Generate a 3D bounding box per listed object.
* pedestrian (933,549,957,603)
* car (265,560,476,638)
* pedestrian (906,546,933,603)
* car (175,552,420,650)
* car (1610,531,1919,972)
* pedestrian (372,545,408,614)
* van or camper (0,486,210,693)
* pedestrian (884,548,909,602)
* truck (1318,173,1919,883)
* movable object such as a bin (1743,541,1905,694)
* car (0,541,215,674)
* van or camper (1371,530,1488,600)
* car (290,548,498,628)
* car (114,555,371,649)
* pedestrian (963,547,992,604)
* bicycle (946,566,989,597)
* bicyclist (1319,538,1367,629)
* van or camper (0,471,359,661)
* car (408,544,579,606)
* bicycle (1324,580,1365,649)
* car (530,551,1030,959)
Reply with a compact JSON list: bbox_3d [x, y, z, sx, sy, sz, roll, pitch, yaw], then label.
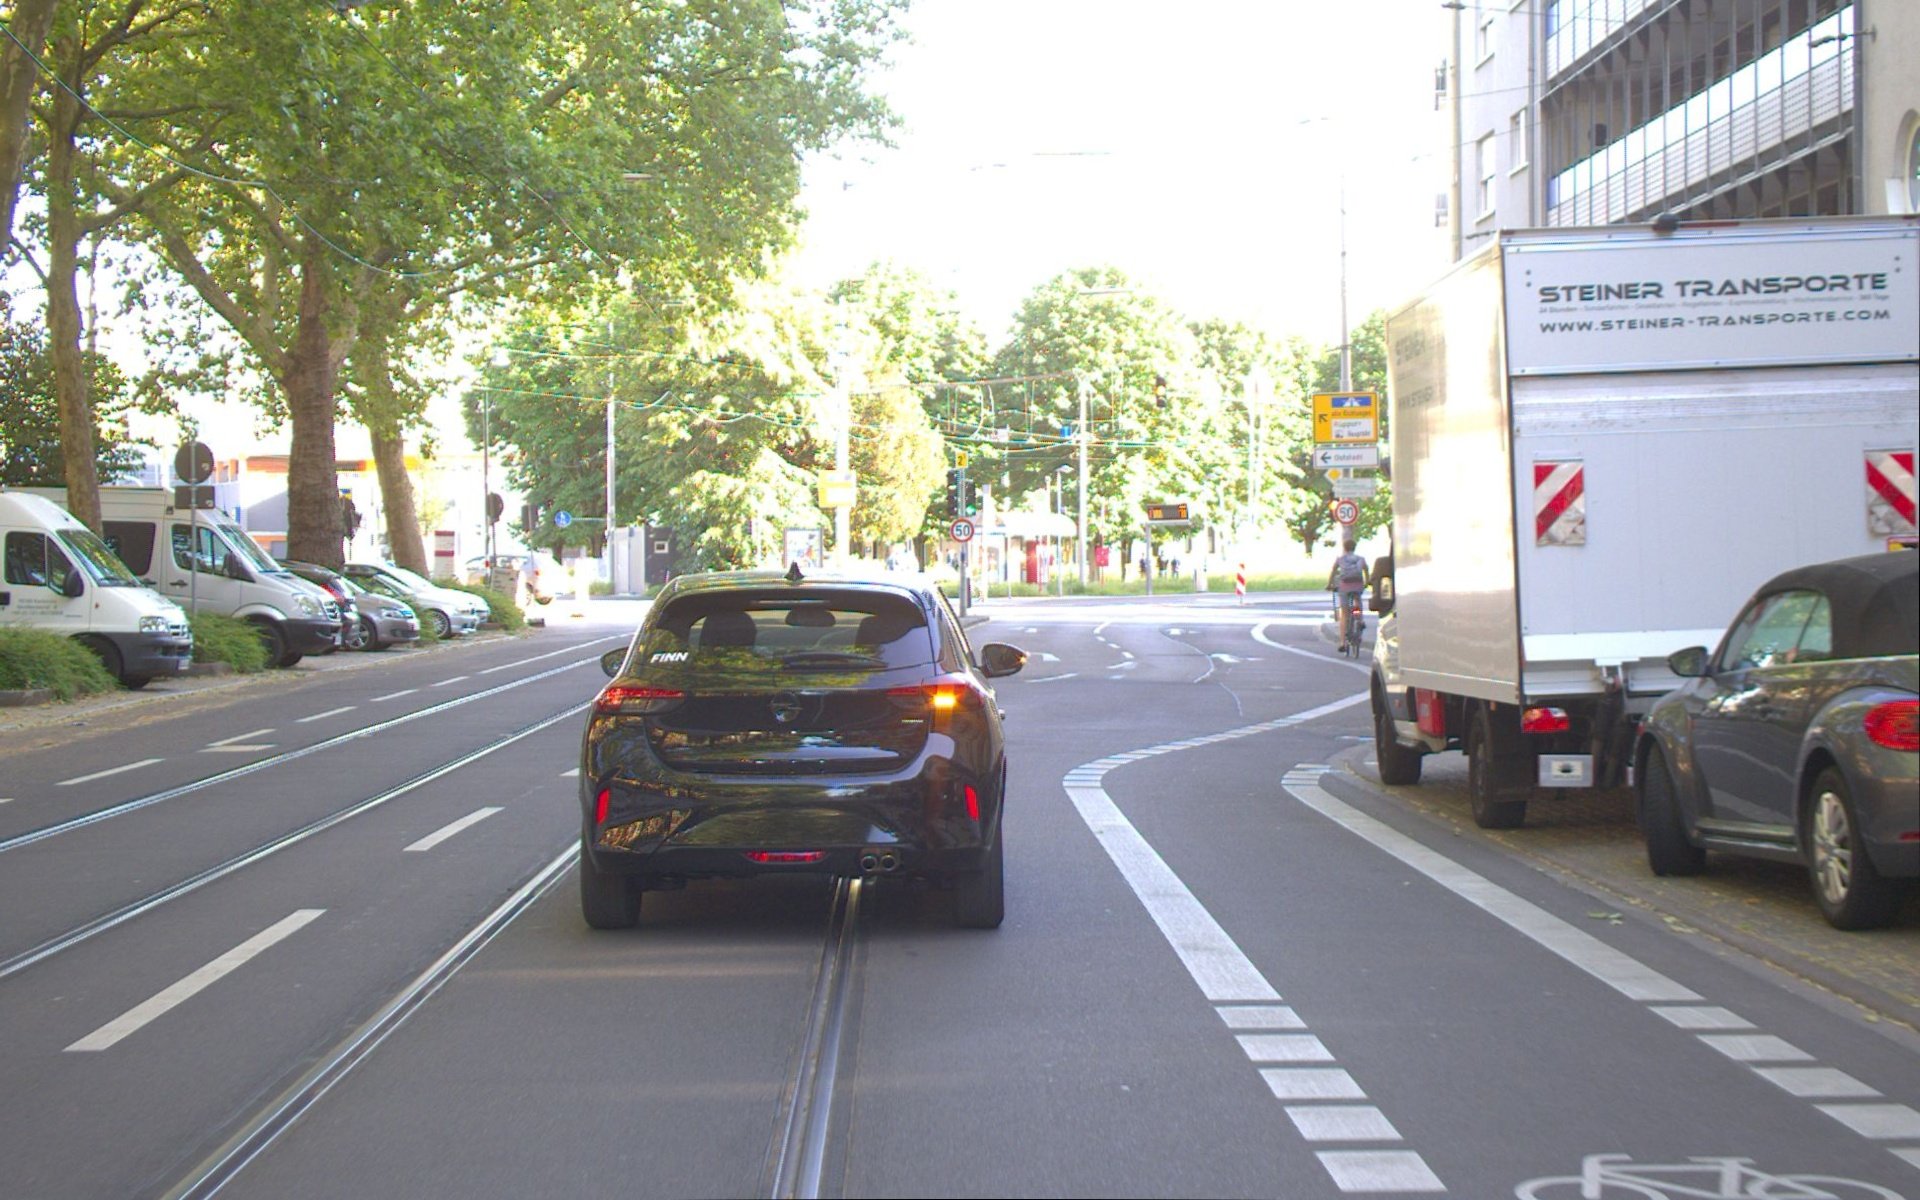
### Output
[{"bbox_3d":[-0.526,-0.818,118.503,0.617,1.847,0.583,1,0,24],"label":"pedestrian"},{"bbox_3d":[-11.999,-0.029,70.079,3.987,1.510,1.650,1,0,1],"label":"car"},{"bbox_3d":[-1.400,-0.882,118.599,0.658,1.926,0.608,1,0,33],"label":"pedestrian"},{"bbox_3d":[-11.683,0.010,60.782,3.987,1.645,1.650,1,0,1],"label":"car"},{"bbox_3d":[4.076,0.495,14.421,1.730,1.552,4.152,-3,1,-2],"label":"car"},{"bbox_3d":[-18.575,-0.667,112.062,0.819,2.213,0.899,1,0,-35],"label":"pedestrian"},{"bbox_3d":[-12.029,-0.168,41.231,5.502,2.371,2.269,1,0,3],"label":"van or camper"},{"bbox_3d":[-2.191,-0.847,118.384,0.618,1.847,0.582,1,0,39],"label":"pedestrian"},{"bbox_3d":[3.821,-0.401,20.158,2.538,3.326,7.195,-3,1,0],"label":"truck"},{"bbox_3d":[8.749,0.164,34.874,1.186,1.479,1.595,-2,0,0],"label":"movable object such as a bin"},{"bbox_3d":[-11.832,0.089,44.140,4.167,1.665,1.965,0,1,-3],"label":"car"},{"bbox_3d":[14.986,-1.108,109.584,2.172,2.138,4.498,1,1,30],"label":"van or camper"},{"bbox_3d":[-11.983,-0.269,72.954,4.167,1.665,1.965,0,1,-3],"label":"car"},{"bbox_3d":[-12.138,0.023,58.289,3.987,1.510,1.650,1,0,1],"label":"car"},{"bbox_3d":[0.423,-0.591,82.811,0.653,1.359,0.645,0,1,6],"label":"pedestrian"},{"bbox_3d":[0.252,-0.596,110.593,0.789,0.988,2.241,1,1,16],"label":"bicycle"},{"bbox_3d":[6.064,-0.257,54.410,0.706,1.431,0.702,0,1,12],"label":"bicyclist"},{"bbox_3d":[-11.915,-0.508,50.533,5.723,2.635,2.269,1,0,0],"label":"van or camper"},{"bbox_3d":[-13.898,-0.739,102.333,4.731,1.690,1.997,-1,1,29],"label":"car"},{"bbox_3d":[6.081,0.222,54.349,0.508,1.063,1.563,0,1,11],"label":"bicycle"},{"bbox_3d":[-0.637,0.551,14.869,1.781,1.491,4.000,1,1,2],"label":"car"}]
